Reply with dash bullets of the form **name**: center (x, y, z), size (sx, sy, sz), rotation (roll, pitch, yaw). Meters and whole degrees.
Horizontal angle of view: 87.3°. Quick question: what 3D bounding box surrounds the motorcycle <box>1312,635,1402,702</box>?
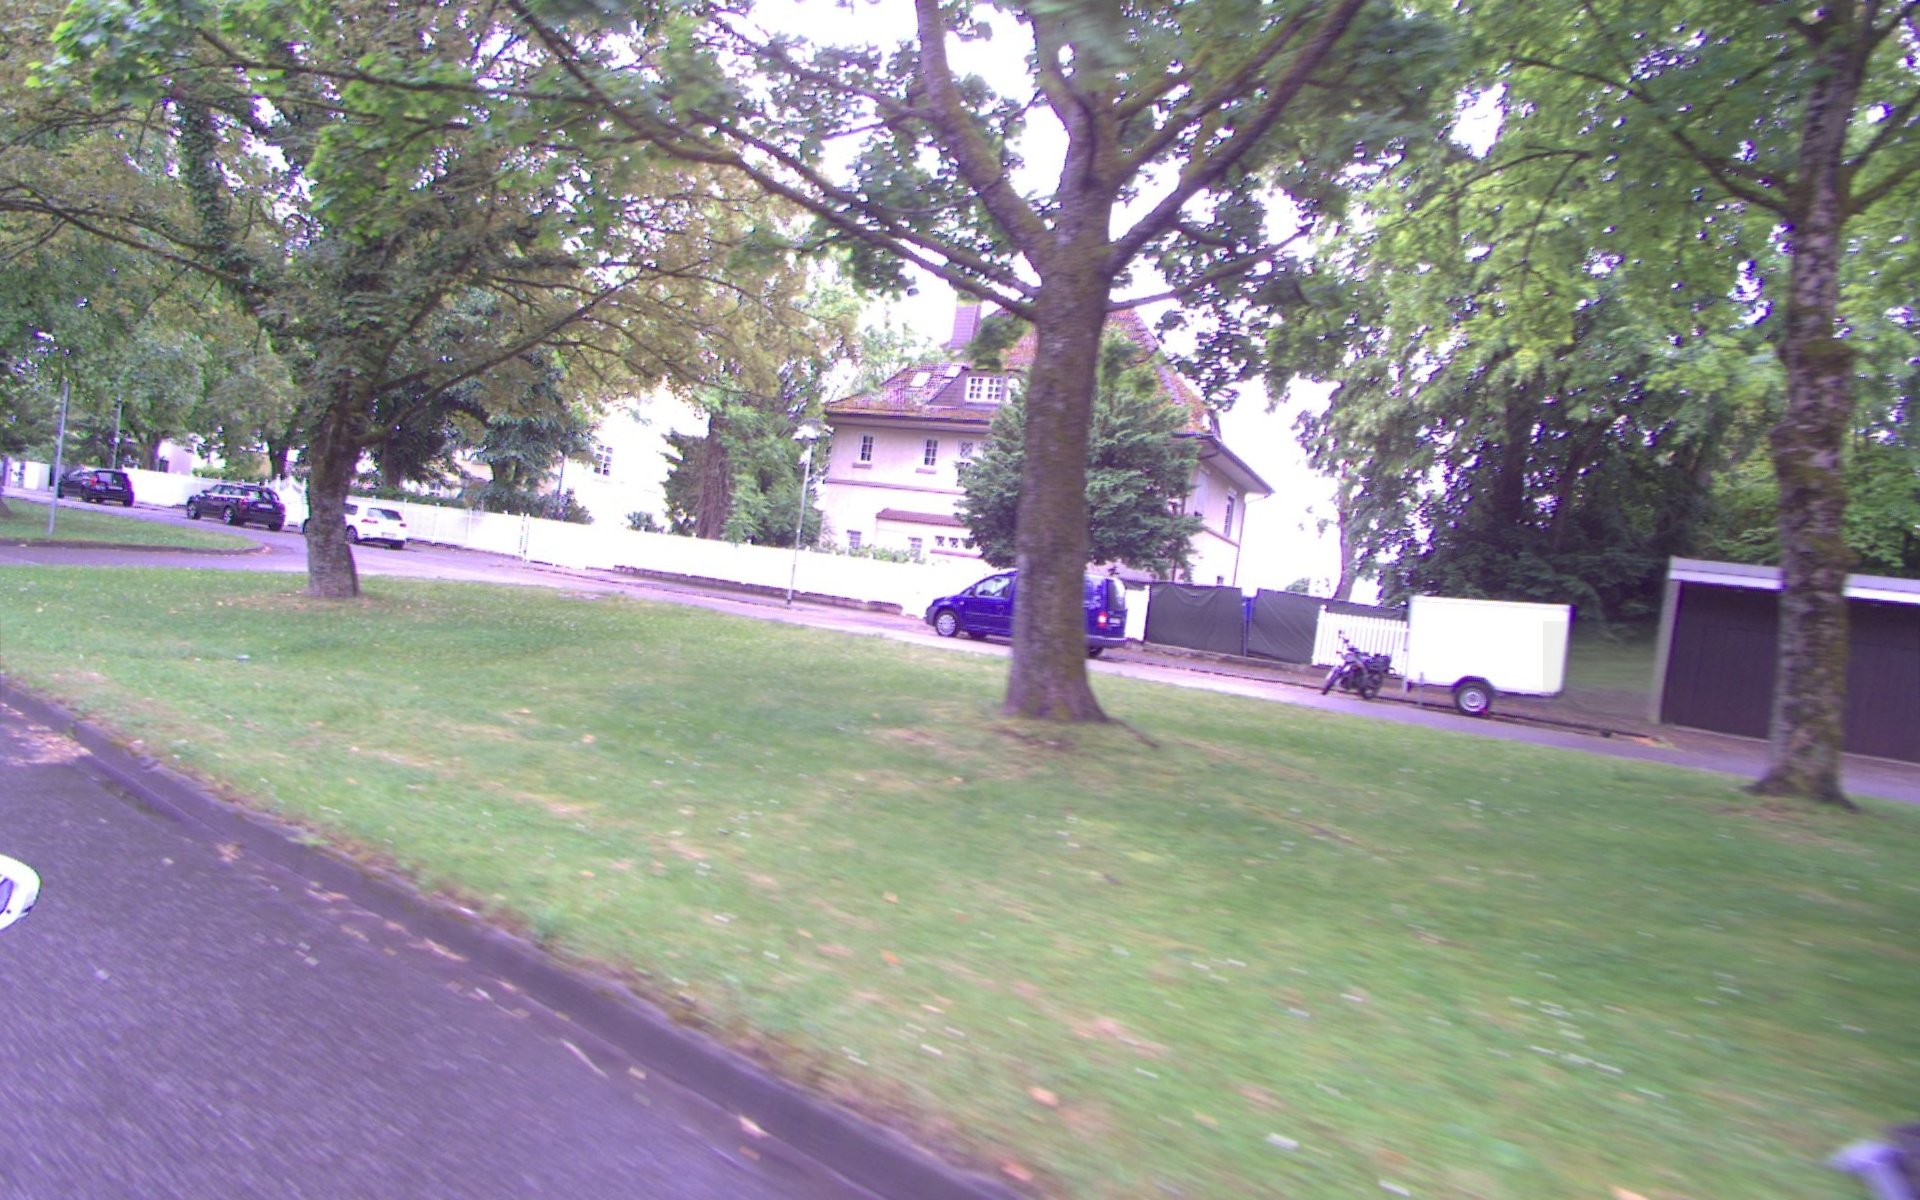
- **motorcycle**: center (7.658, 1.327, 19.360), size (1.876, 1.106, 0.651), rotation (7, 2, -39)

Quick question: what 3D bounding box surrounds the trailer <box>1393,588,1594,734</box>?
- **trailer**: center (9.617, 1.065, 18.320), size (2.898, 2.182, 1.438), rotation (7, 2, 27)

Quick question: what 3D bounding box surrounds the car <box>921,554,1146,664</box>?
- **car**: center (1.643, 0.169, 22.961), size (4.569, 1.833, 1.943), rotation (8, 3, 29)

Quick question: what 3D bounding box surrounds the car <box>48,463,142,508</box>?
- **car**: center (-38.023, -5.038, 44.217), size (4.041, 1.430, 1.803), rotation (8, 2, 29)

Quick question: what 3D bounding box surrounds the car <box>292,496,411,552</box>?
- **car**: center (-21.226, -2.647, 35.076), size (3.939, 1.428, 1.618), rotation (8, 2, 27)

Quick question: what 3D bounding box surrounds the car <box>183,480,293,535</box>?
- **car**: center (-27.664, -3.541, 38.519), size (4.041, 1.550, 1.803), rotation (8, 2, 29)
